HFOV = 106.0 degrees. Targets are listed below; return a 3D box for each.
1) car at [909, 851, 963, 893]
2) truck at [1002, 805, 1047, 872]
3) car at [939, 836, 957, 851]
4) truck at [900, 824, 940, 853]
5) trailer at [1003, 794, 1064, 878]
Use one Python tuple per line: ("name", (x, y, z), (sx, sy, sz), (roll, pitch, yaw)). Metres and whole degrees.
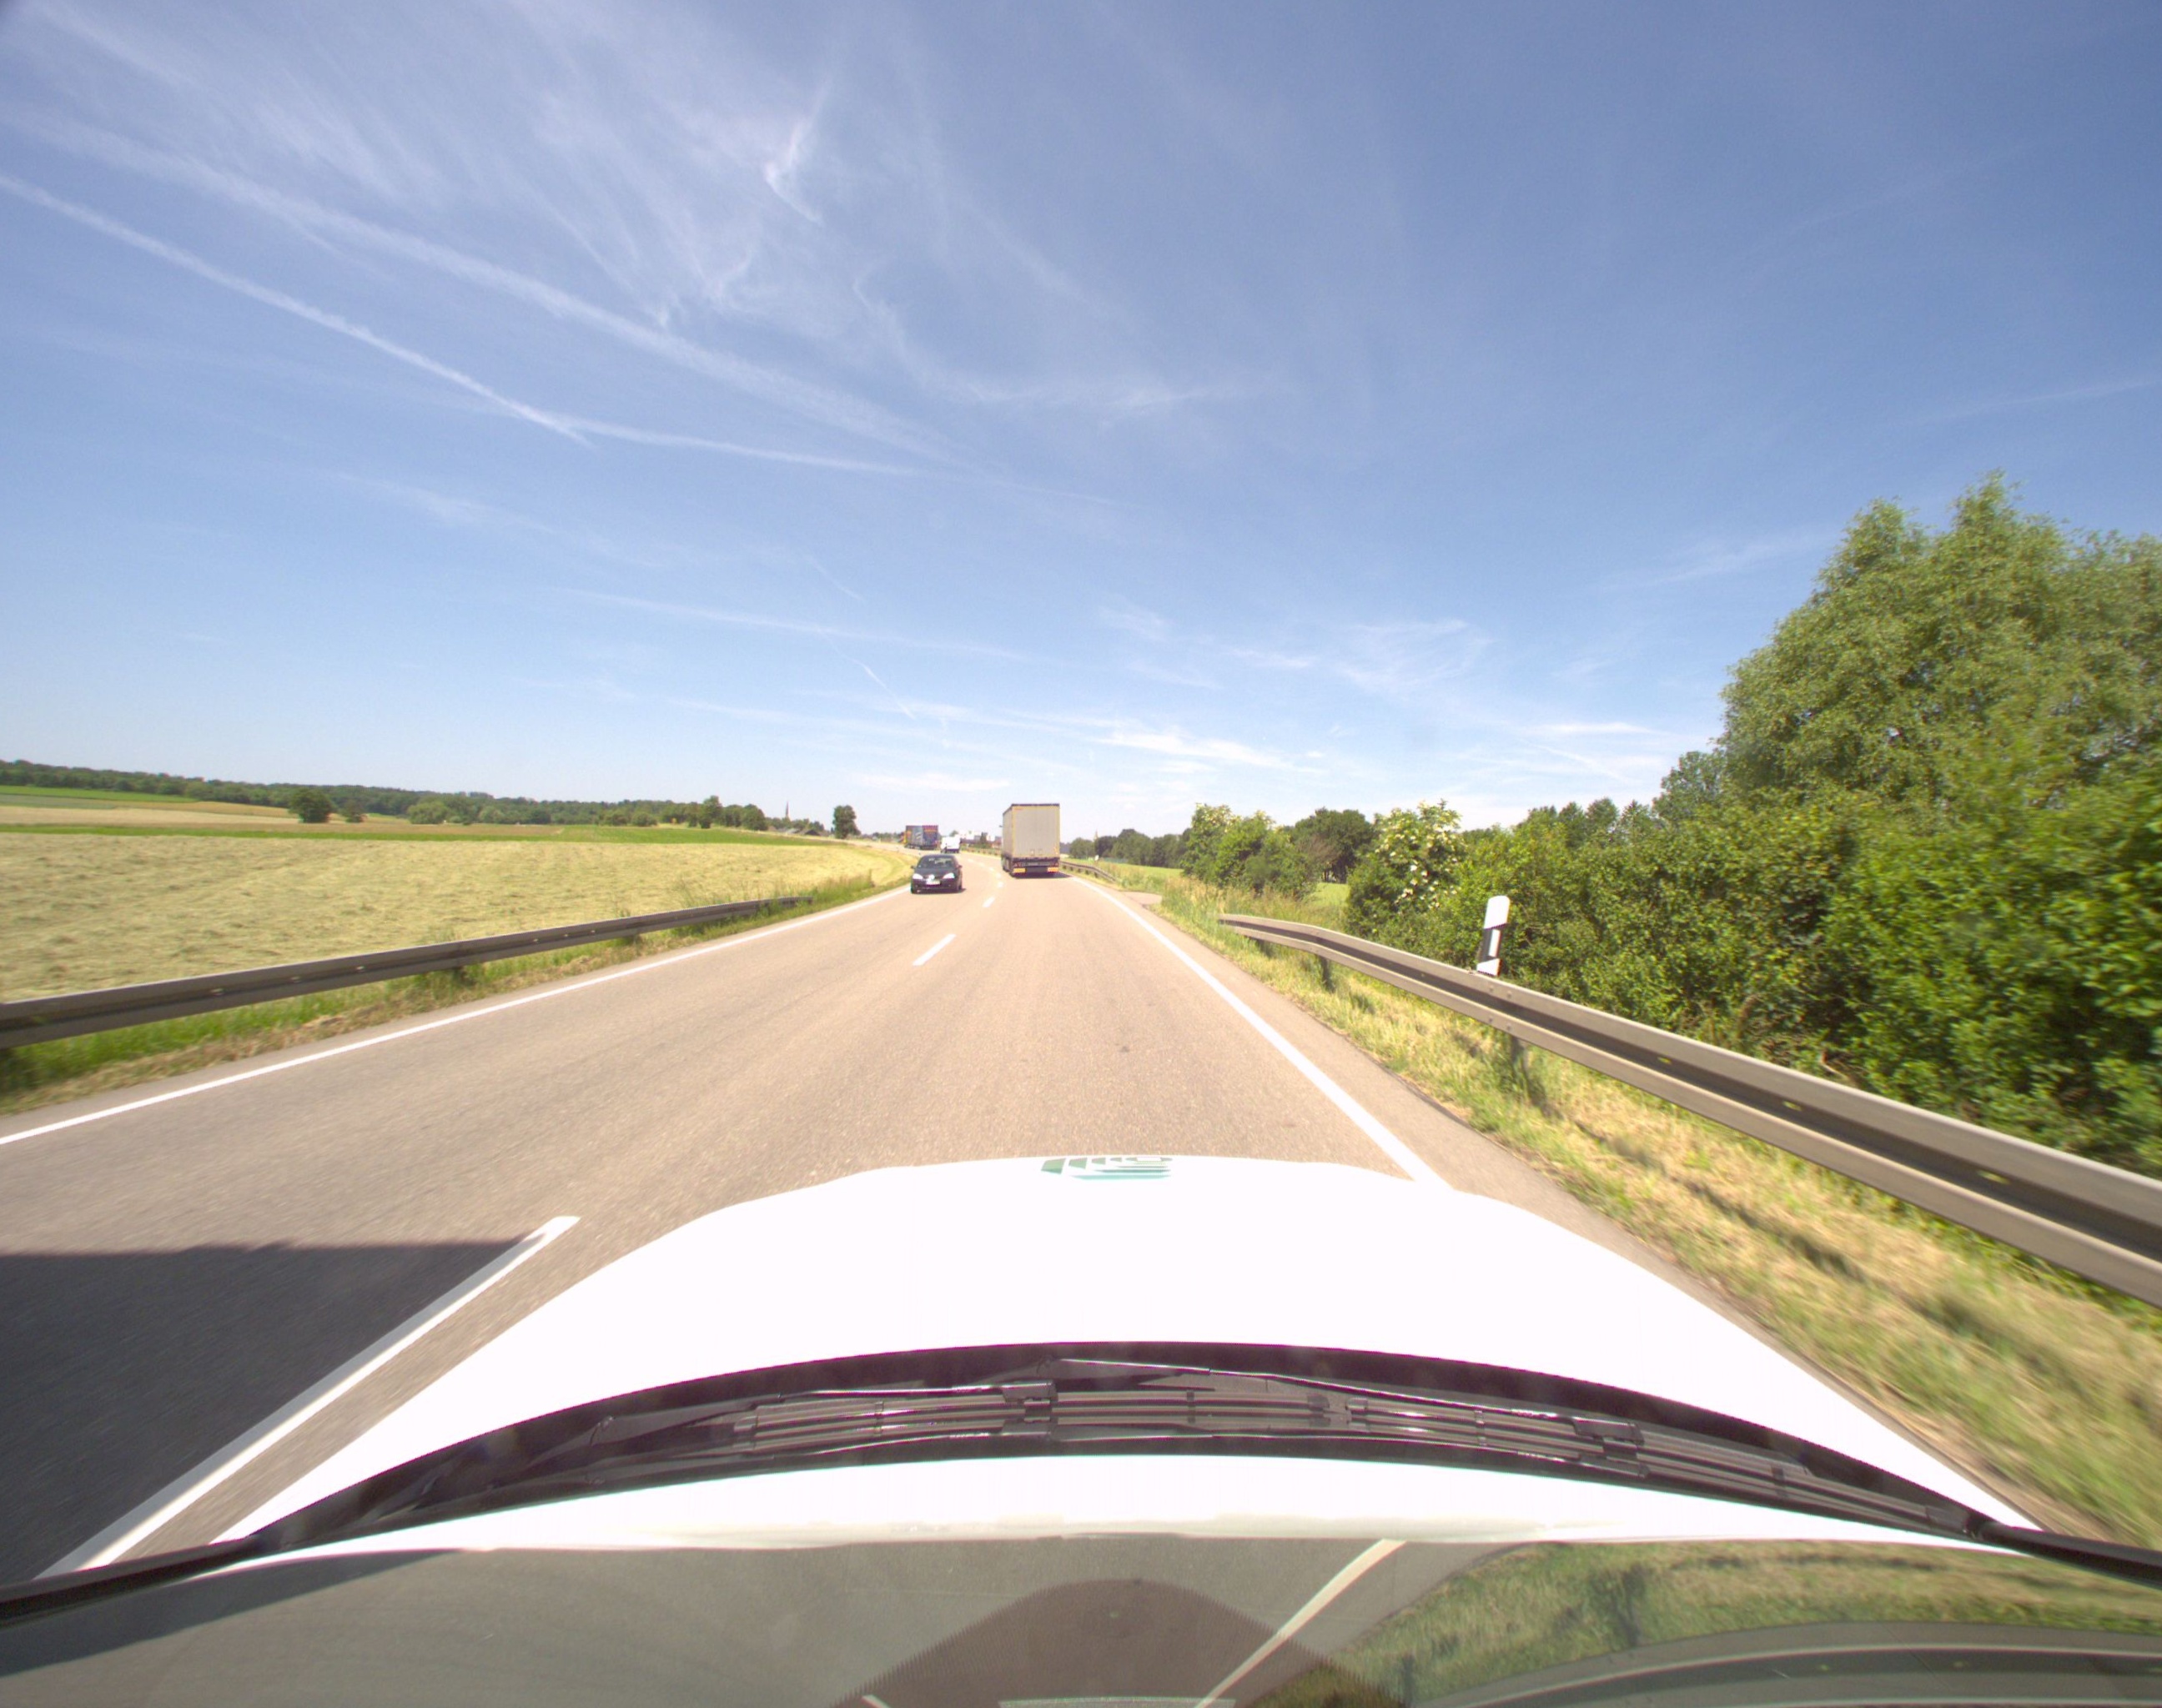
("car", (-5.651, 0.656, 32.154), (1.697, 1.469, 4.192), (-2, 1, -5))
("truck", (-3.985, -1.003, 56.534), (2.857, 4.401, 5.058), (-1, 0, -7))
("car", (-18.613, -1.481, 113.914), (1.731, 1.873, 3.972), (1, -2, -20))
("truck", (-27.154, -2.620, 136.592), (3.562, 4.392, 17.995), (2, 1, -21))
("trailer", (-3.129, -0.993, 49.407), (2.864, 4.400, 13.460), (-1, 0, -7))
